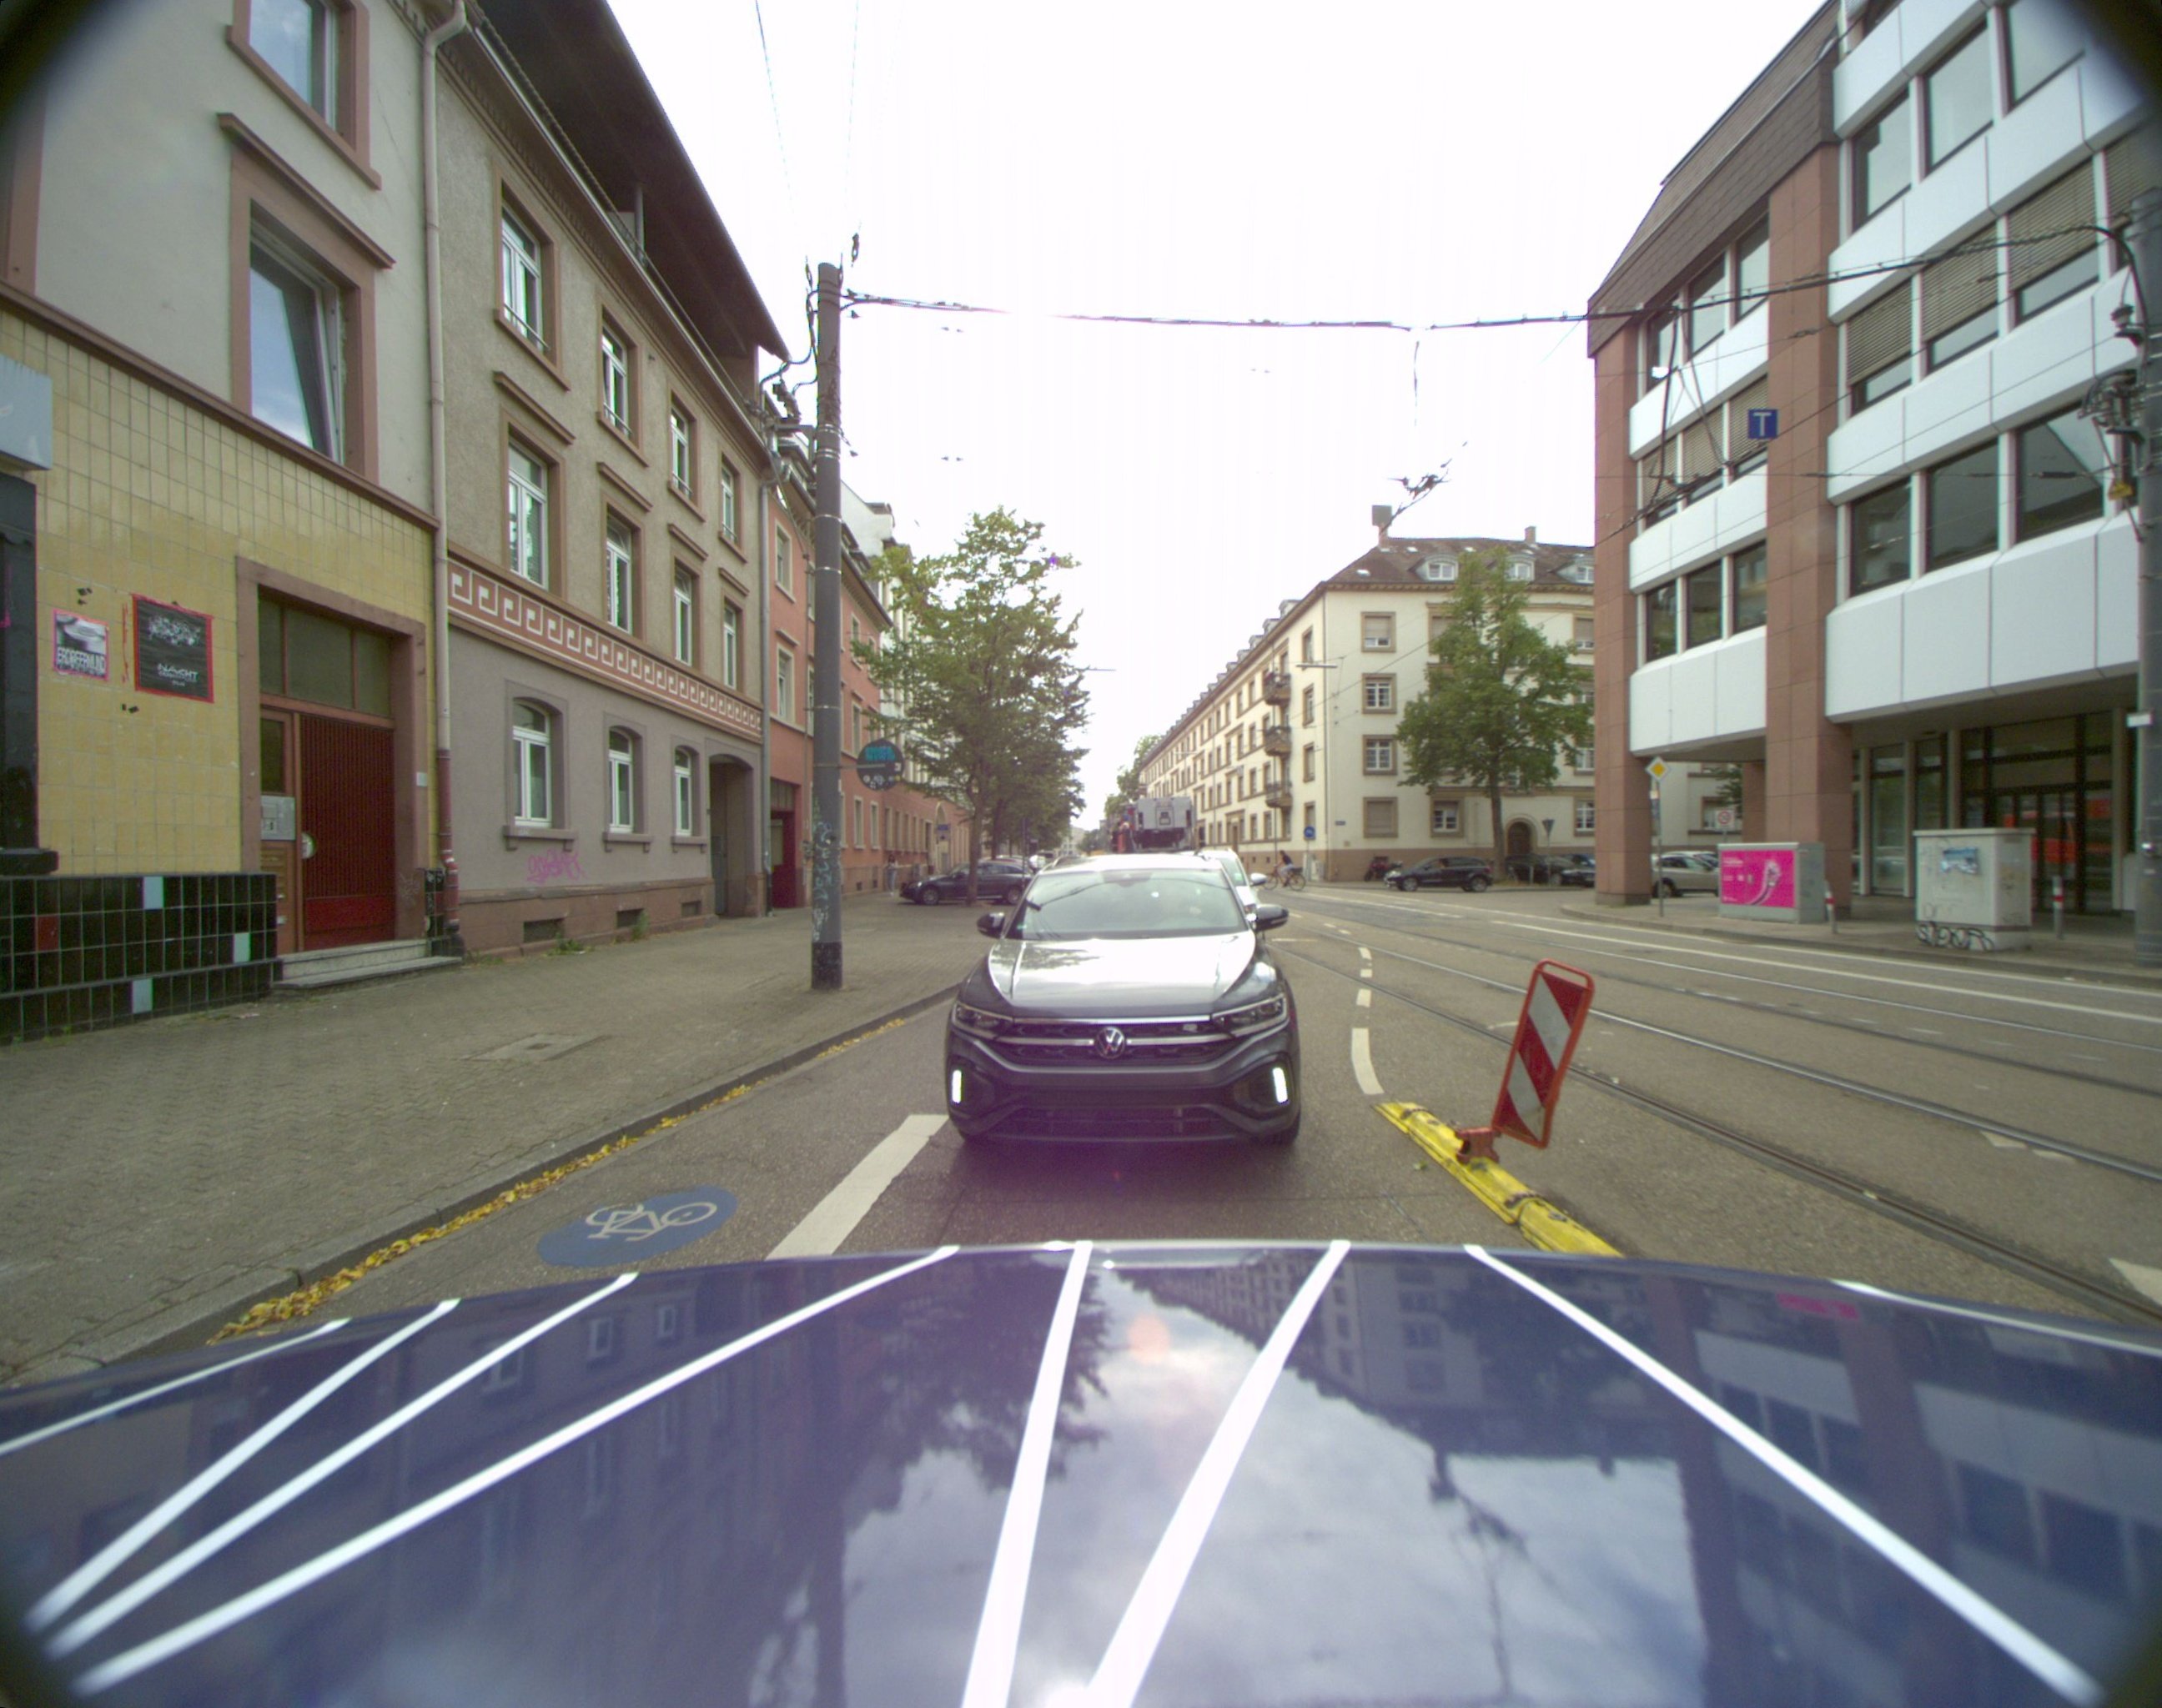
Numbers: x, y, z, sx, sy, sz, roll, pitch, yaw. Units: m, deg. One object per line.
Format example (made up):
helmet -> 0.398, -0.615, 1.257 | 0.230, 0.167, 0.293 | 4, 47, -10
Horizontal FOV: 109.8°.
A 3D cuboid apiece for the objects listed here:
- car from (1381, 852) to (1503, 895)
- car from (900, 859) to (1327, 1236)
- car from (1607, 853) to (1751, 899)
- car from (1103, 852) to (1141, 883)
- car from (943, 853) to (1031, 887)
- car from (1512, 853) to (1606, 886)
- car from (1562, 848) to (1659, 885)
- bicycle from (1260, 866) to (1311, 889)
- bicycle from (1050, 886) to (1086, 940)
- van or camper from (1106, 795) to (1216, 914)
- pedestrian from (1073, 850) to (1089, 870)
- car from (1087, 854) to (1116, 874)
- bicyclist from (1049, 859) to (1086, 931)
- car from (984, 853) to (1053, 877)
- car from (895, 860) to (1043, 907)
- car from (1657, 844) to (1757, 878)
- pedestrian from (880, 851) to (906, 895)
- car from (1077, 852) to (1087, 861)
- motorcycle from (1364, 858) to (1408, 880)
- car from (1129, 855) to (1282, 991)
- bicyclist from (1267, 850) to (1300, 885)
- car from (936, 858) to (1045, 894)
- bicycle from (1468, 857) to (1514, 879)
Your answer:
car -> 14.245, 0.758, 30.200 | 4.042, 1.528, 1.776 | -2, 0, 13
car -> 0.292, 0.860, 5.382 | 1.773, 1.538, 4.283 | -2, 0, 5
car -> 19.192, 0.689, 24.456 | 3.650, 1.380, 1.611 | -1, 0, -9
car -> 2.350, 0.763, 44.434 | 1.998, 1.698, 4.053 | -1, 0, 1
car -> -4.934, 0.838, 39.915 | 4.245, 1.688, 1.736 | 1, 0, -24
car -> 21.170, 0.661, 33.831 | 1.611, 1.388, 3.874 | -1, 0, -3
car -> 23.554, 0.527, 33.963 | 1.611, 1.538, 3.715 | -1, 0, -3
bicycle -> 8.659, 1.006, 32.162 | 2.007, 0.959, 0.674 | -1, -1, 24
bicycle -> -0.276, 1.272, 16.784 | 0.714, 1.012, 1.800 | -2, 0, 0
van or camper -> 2.491, 0.008, 26.842 | 2.607, 3.401, 9.651 | -1, 0, -1
pedestrian -> -0.014, 0.595, 70.806 | 1.016, 1.831, 1.003 | 0, 1, 40
car -> 1.507, 0.724, 57.126 | 1.911, 1.478, 3.999 | -1, 0, -2
bicyclist -> -0.300, 0.884, 16.784 | 0.715, 1.498, 0.918 | -3, 0, -1
car -> -4.564, 0.787, 55.468 | 4.635, 1.688, 1.913 | 1, 0, -24
car -> -3.778, 0.960, 25.706 | 4.635, 1.464, 1.786 | 1, 0, -24
car -> 28.497, 0.304, 34.740 | 1.592, 1.453, 3.524 | -1, 0, -3
pedestrian -> -7.368, 0.747, 29.802 | 0.732, 1.678, 0.926 | 3, 0, -1
car -> 0.230, 0.515, 147.707 | 1.899, 1.806, 4.000 | -1, 0, 0
motorcycle -> 15.346, 0.770, 38.271 | 1.924, 1.080, 0.793 | -1, 0, -1
car -> 1.692, 0.840, 11.341 | 1.772, 1.582, 4.283 | -2, 0, 5
bicyclist -> 8.573, 0.581, 32.193 | 1.256, 1.453, 0.678 | -1, 0, 24
car -> -3.903, 0.926, 32.806 | 4.351, 1.471, 1.786 | 1, 0, -24
bicycle -> 20.743, 0.717, 38.487 | 1.924, 1.080, 0.793 | -1, 0, -1
